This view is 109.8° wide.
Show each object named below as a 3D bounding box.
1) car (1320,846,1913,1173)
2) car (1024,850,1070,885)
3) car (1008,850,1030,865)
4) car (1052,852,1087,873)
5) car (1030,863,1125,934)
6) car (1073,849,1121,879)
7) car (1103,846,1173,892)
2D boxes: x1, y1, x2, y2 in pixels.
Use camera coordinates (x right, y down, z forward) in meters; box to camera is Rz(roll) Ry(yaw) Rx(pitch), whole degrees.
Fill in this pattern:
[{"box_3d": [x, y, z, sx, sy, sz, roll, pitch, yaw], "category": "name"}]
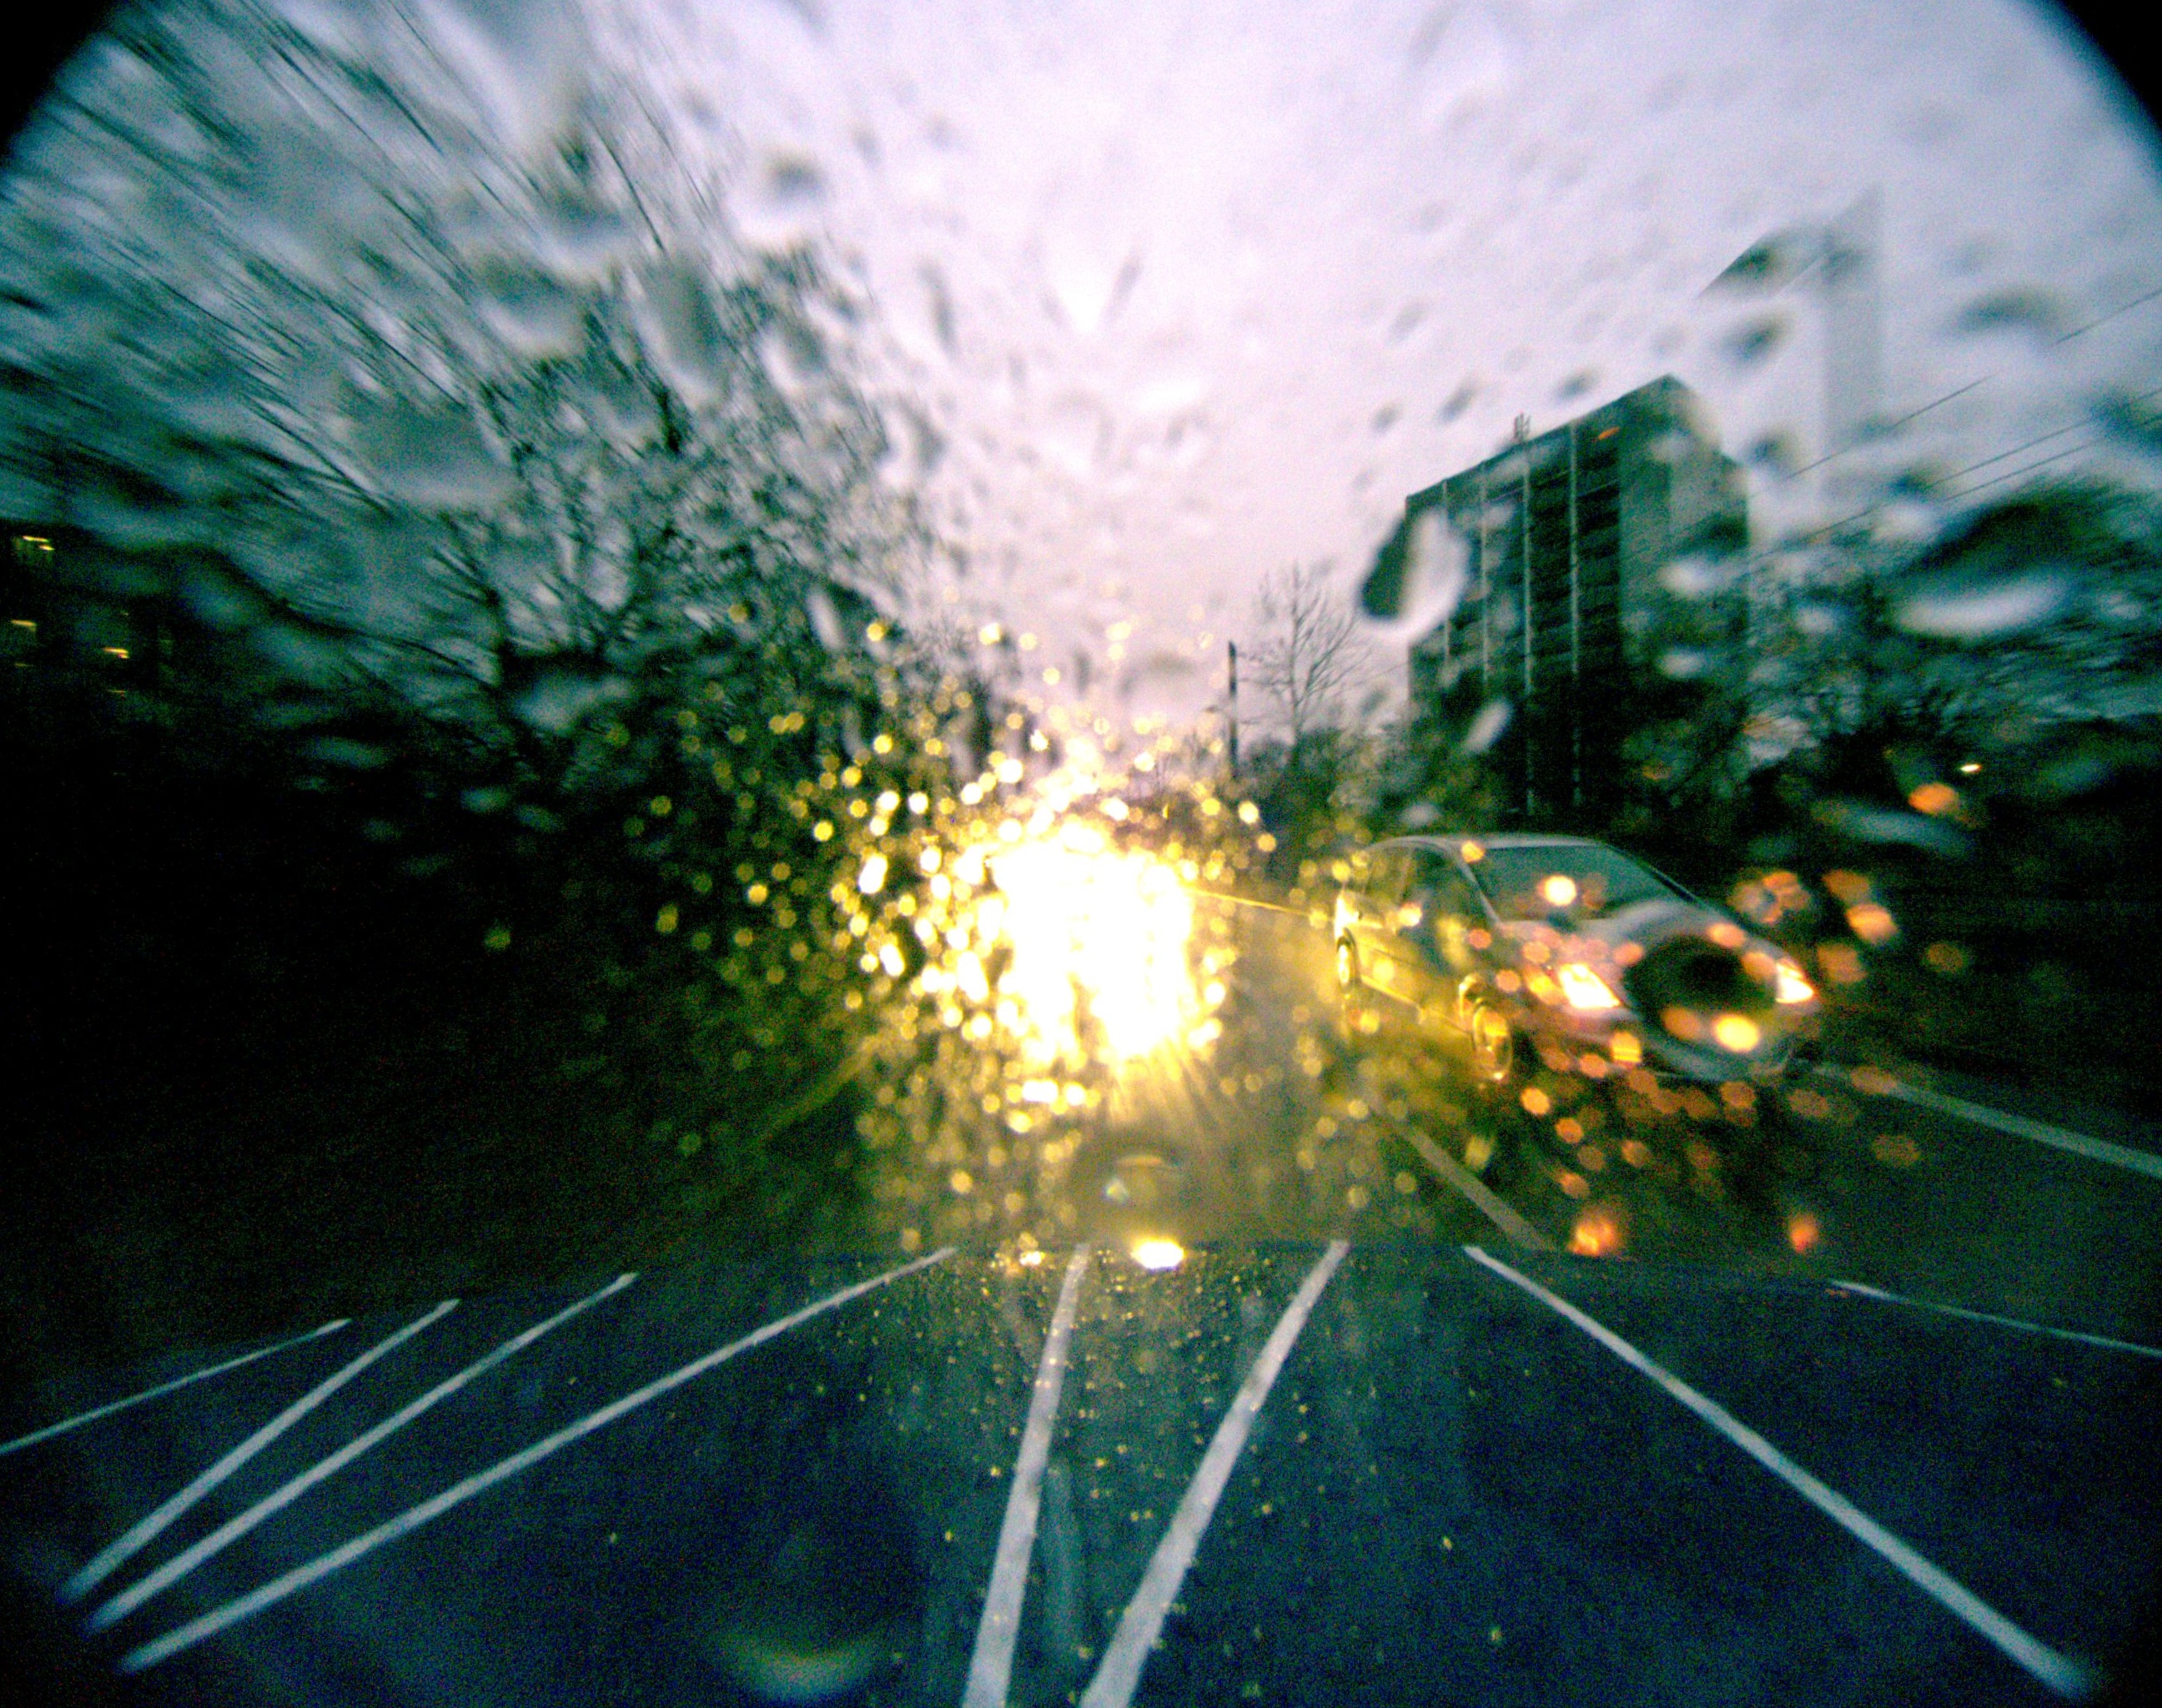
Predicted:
[{"box_3d": [3.276, 0.754, 5.726, 1.669, 1.566, 3.922, -2, 1, 0], "category": "car"}, {"box_3d": [-1.768, 0.625, 38.042, 1.950, 1.546, 4.214, -3, 1, -7], "category": "car"}, {"box_3d": [-6.758, 0.347, 82.413, 1.951, 1.546, 4.213, -3, 1, -9], "category": "car"}, {"box_3d": [-0.921, 0.652, 59.914, 1.951, 1.546, 4.212, -3, 1, -11], "category": "car"}, {"box_3d": [-0.136, 0.923, 17.465, 1.897, 1.347, 4.288, -1, 0, -2], "category": "car"}, {"box_3d": [0.854, 0.540, 43.447, 1.846, 1.546, 4.213, -3, 1, -10], "category": "car"}, {"box_3d": [2.122, 0.536, 29.451, 1.925, 1.546, 4.214, -3, 1, -6], "category": "car"}]
